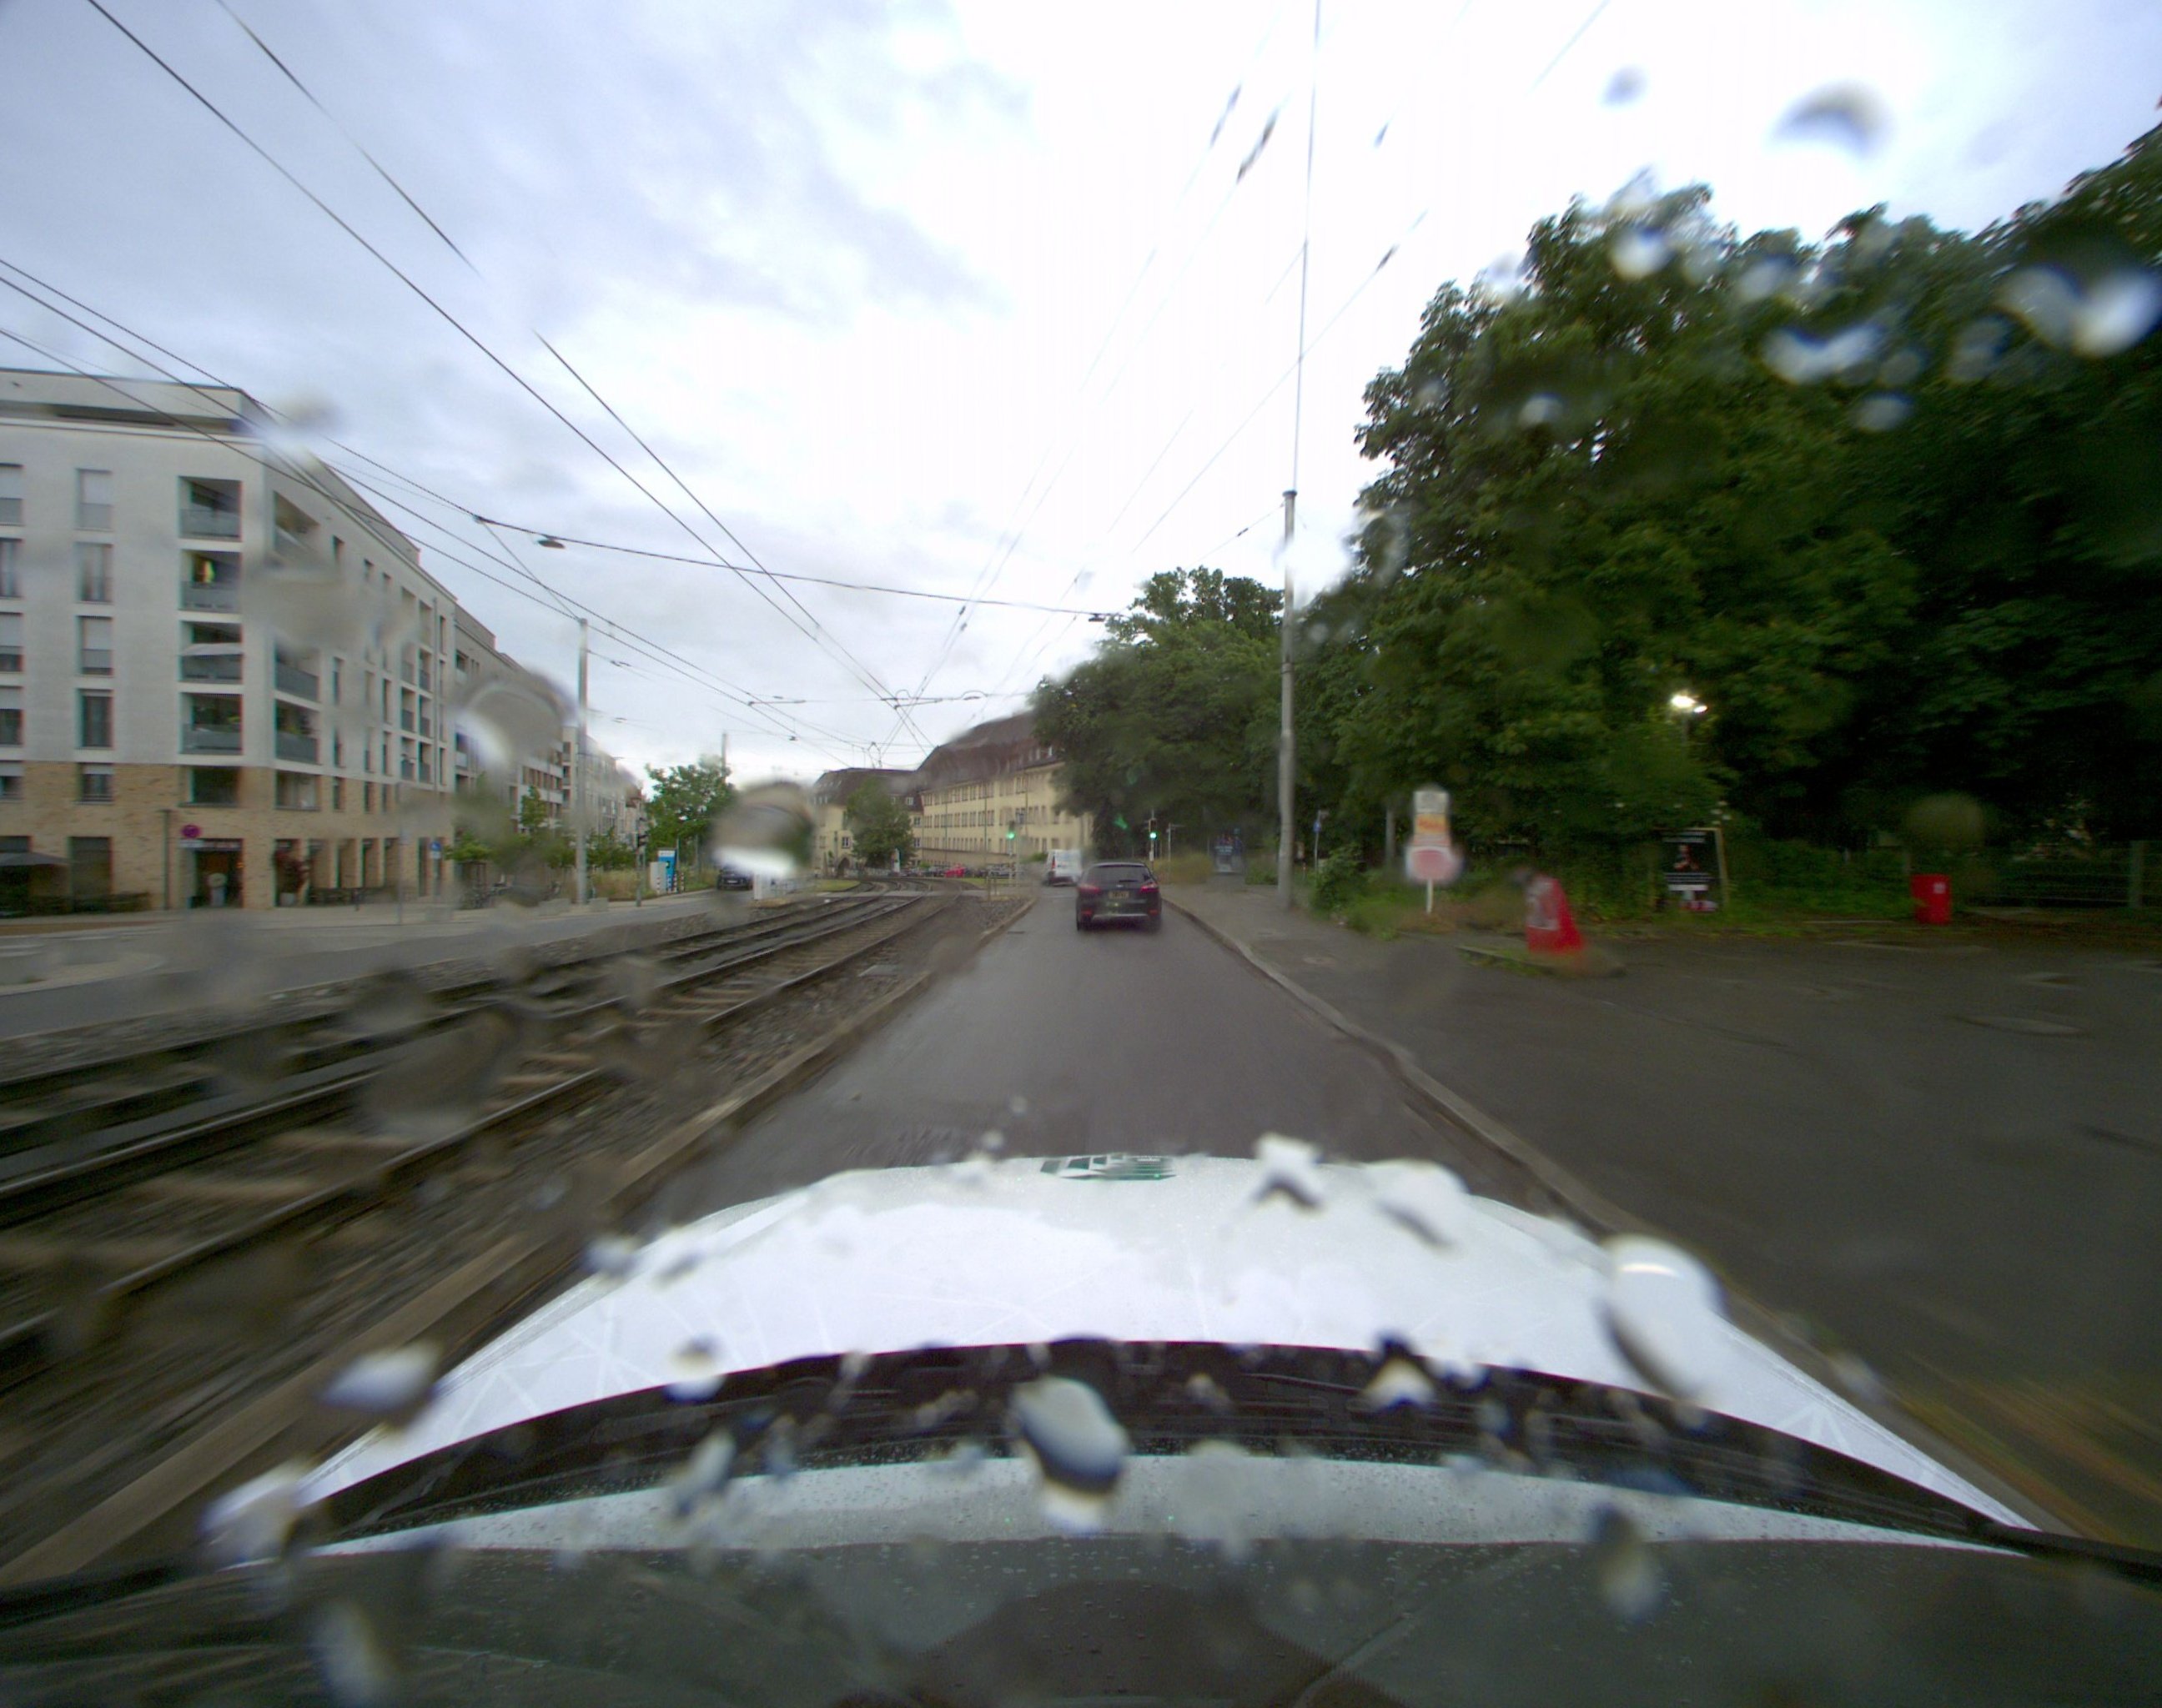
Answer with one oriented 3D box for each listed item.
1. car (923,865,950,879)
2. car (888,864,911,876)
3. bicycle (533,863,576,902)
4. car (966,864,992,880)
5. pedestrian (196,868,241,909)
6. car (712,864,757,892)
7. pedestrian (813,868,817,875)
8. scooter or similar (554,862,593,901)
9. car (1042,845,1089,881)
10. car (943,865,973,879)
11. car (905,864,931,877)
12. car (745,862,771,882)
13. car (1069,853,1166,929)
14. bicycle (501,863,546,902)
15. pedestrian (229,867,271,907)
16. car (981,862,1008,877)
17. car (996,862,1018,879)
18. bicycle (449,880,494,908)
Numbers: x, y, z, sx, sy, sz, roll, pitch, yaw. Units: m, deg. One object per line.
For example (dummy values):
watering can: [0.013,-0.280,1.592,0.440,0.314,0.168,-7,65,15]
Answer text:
car: [-17.142,2.129,96.325,1.677,1.476,4.412,-2,0,-31]
car: [-23.741,2.114,106.183,1.677,1.524,4.067,-2,0,-31]
bicycle: [-22.348,1.177,34.608,0.675,1.596,2.352,-1,-1,-11]
car: [-10.967,1.946,87.292,1.674,1.573,3.823,-2,-1,-25]
pedestrian: [-35.660,1.417,33.673,0.834,1.652,0.906,-3,0,9]
car: [-21.154,1.459,49.850,1.998,1.605,4.190,2,-2,-17]
pedestrian: [-46.820,3.084,143.287,0.508,1.315,0.505,0,-1,-35]
scooter or similar: [-21.654,1.132,34.787,0.600,1.596,2.352,-1,-1,-11]
car: [-0.866,0.448,42.805,2.133,1.745,4.210,-1,0,-5]
car: [-13.929,2.061,91.847,1.678,1.477,4.021,1,-2,-35]
car: [-20.237,2.096,101.212,1.678,1.476,4.065,-2,0,-34]
car: [-25.481,1.394,64.239,1.471,1.531,2.917,1,-1,-14]
car: [0.775,0.753,18.296,1.913,1.479,4.001,-1,0,1]
bicycle: [-23.391,1.180,34.232,0.675,1.596,2.352,-1,-1,-11]
pedestrian: [-35.369,1.410,34.664,0.834,1.652,0.906,-2,-1,10]
car: [-8.778,1.531,82.185,1.544,1.416,3.612,-2,0,-26]
car: [-7.180,1.590,78.635,1.602,1.465,2.704,-2,0,-17]
bicycle: [-25.444,1.641,34.037,0.474,1.047,2.224,-1,0,-8]
